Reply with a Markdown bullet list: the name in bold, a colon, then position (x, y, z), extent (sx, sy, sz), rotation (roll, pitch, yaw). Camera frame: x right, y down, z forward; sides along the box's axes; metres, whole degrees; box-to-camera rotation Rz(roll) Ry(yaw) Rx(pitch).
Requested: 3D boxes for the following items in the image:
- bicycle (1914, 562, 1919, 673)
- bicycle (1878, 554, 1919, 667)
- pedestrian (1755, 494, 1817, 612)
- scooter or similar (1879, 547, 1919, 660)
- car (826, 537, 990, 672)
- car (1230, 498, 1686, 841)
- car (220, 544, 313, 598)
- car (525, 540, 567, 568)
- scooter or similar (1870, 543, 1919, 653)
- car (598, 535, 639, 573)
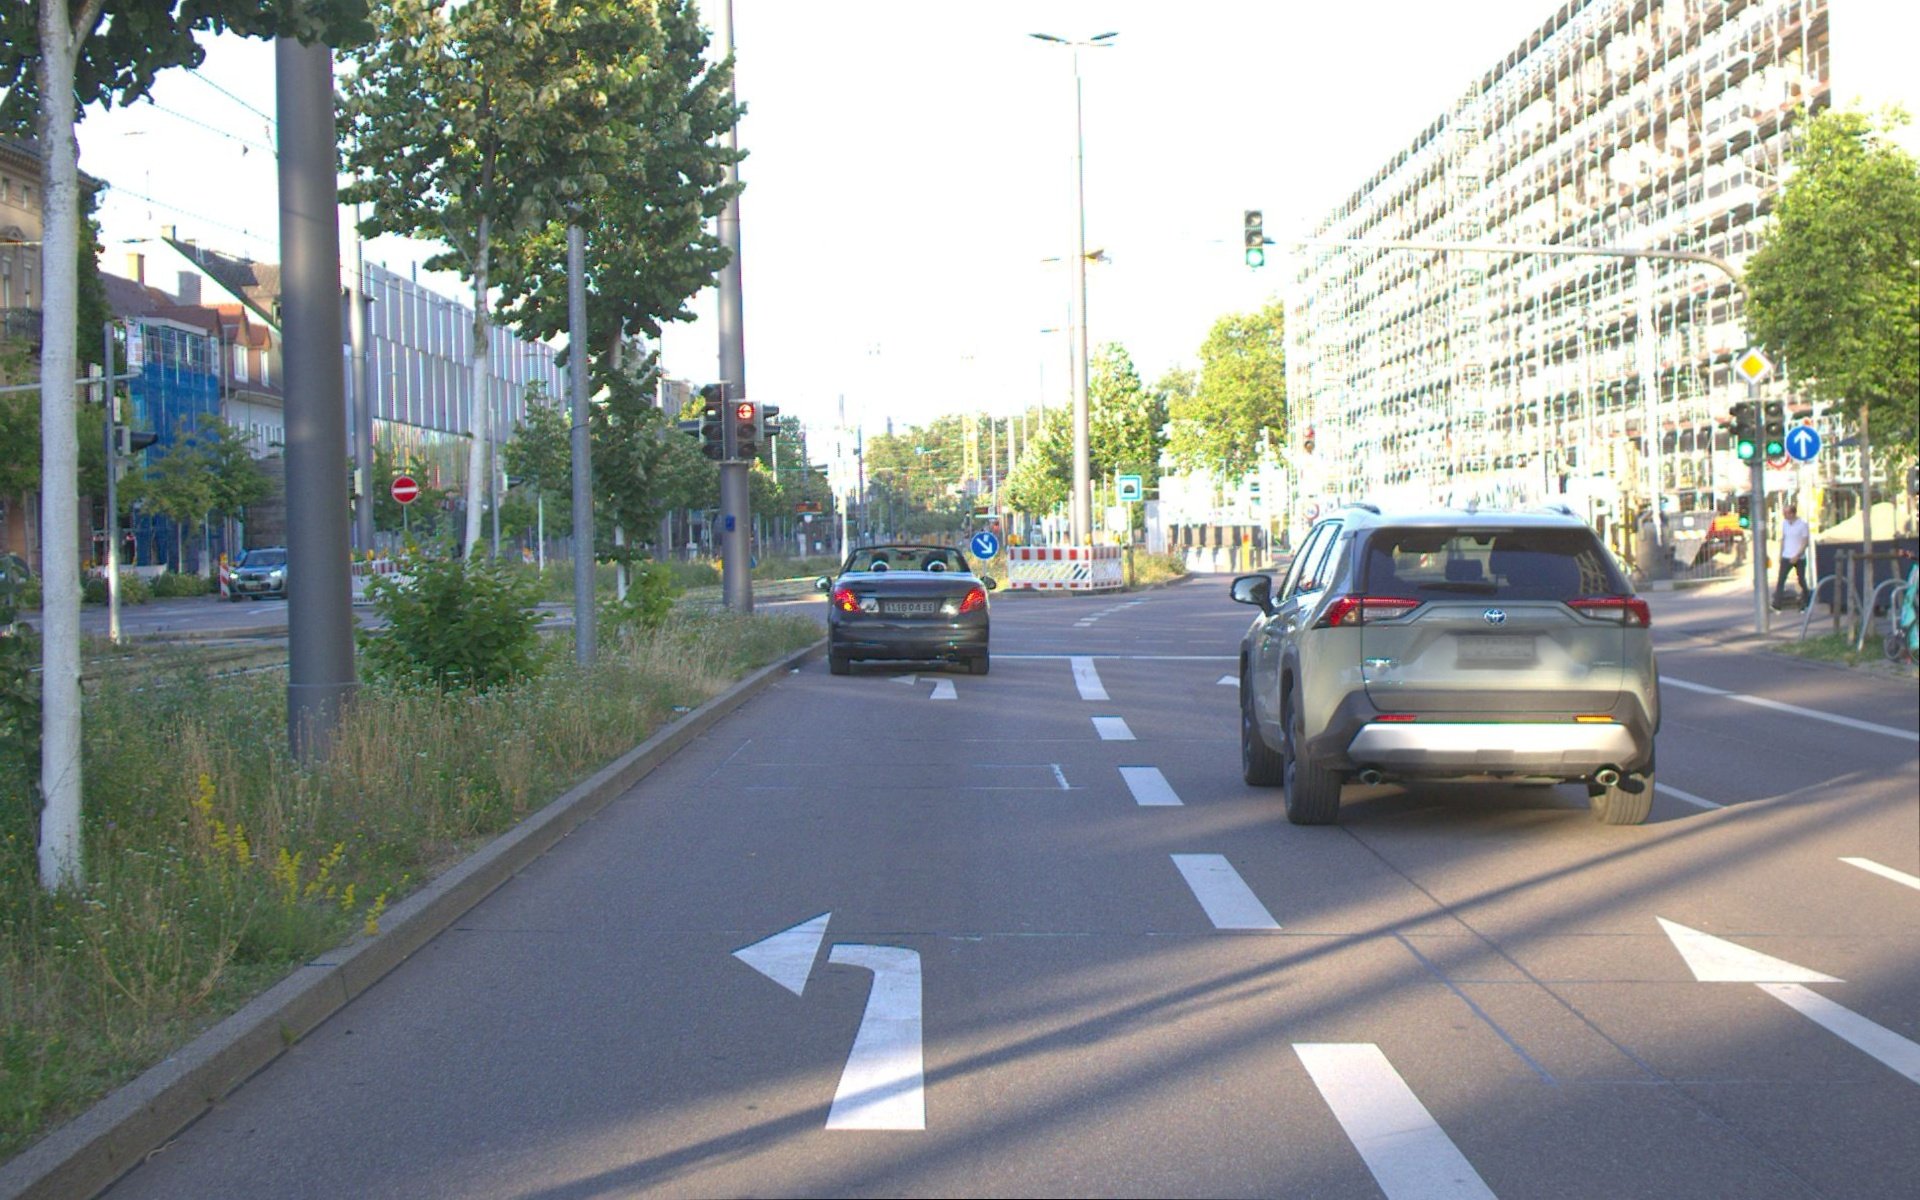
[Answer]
- **bicycle**: position (10.864, 0.149, 35.403), extent (1.846, 1.178, 0.608), rotation (-3, 1, 0)
- **bicycle**: position (10.933, 0.068, 37.192), extent (1.793, 1.189, 0.568), rotation (-3, 1, -4)
- **pedestrian**: position (13.172, -0.751, 54.833), extent (0.768, 1.841, 0.678), rotation (-2, 1, 0)
- **scooter or similar**: position (10.861, 0.021, 38.345), extent (1.062, 1.219, 0.549), rotation (-3, 1, 10)
- **car**: position (-0.538, 0.007, 37.093), extent (1.674, 1.347, 4.000), rotation (0, 1, 0)
- **car**: position (2.592, 0.284, 18.888), extent (1.834, 1.667, 4.283), rotation (0, 1, -1)
- **car**: position (-22.082, -0.932, 109.639), extent (1.993, 1.575, 4.124), rotation (-3, 1, 1)
- **car**: position (-22.355, -2.476, 185.645), extent (1.658, 1.426, 3.895), rotation (1, 1, 2)
- **scooter or similar**: position (11.109, -0.039, 39.521), extent (1.051, 1.219, 0.598), rotation (-3, 1, -4)
- **car**: position (-18.434, -2.510, 185.658), extent (1.658, 1.957, 4.266), rotation (1, 1, 2)
